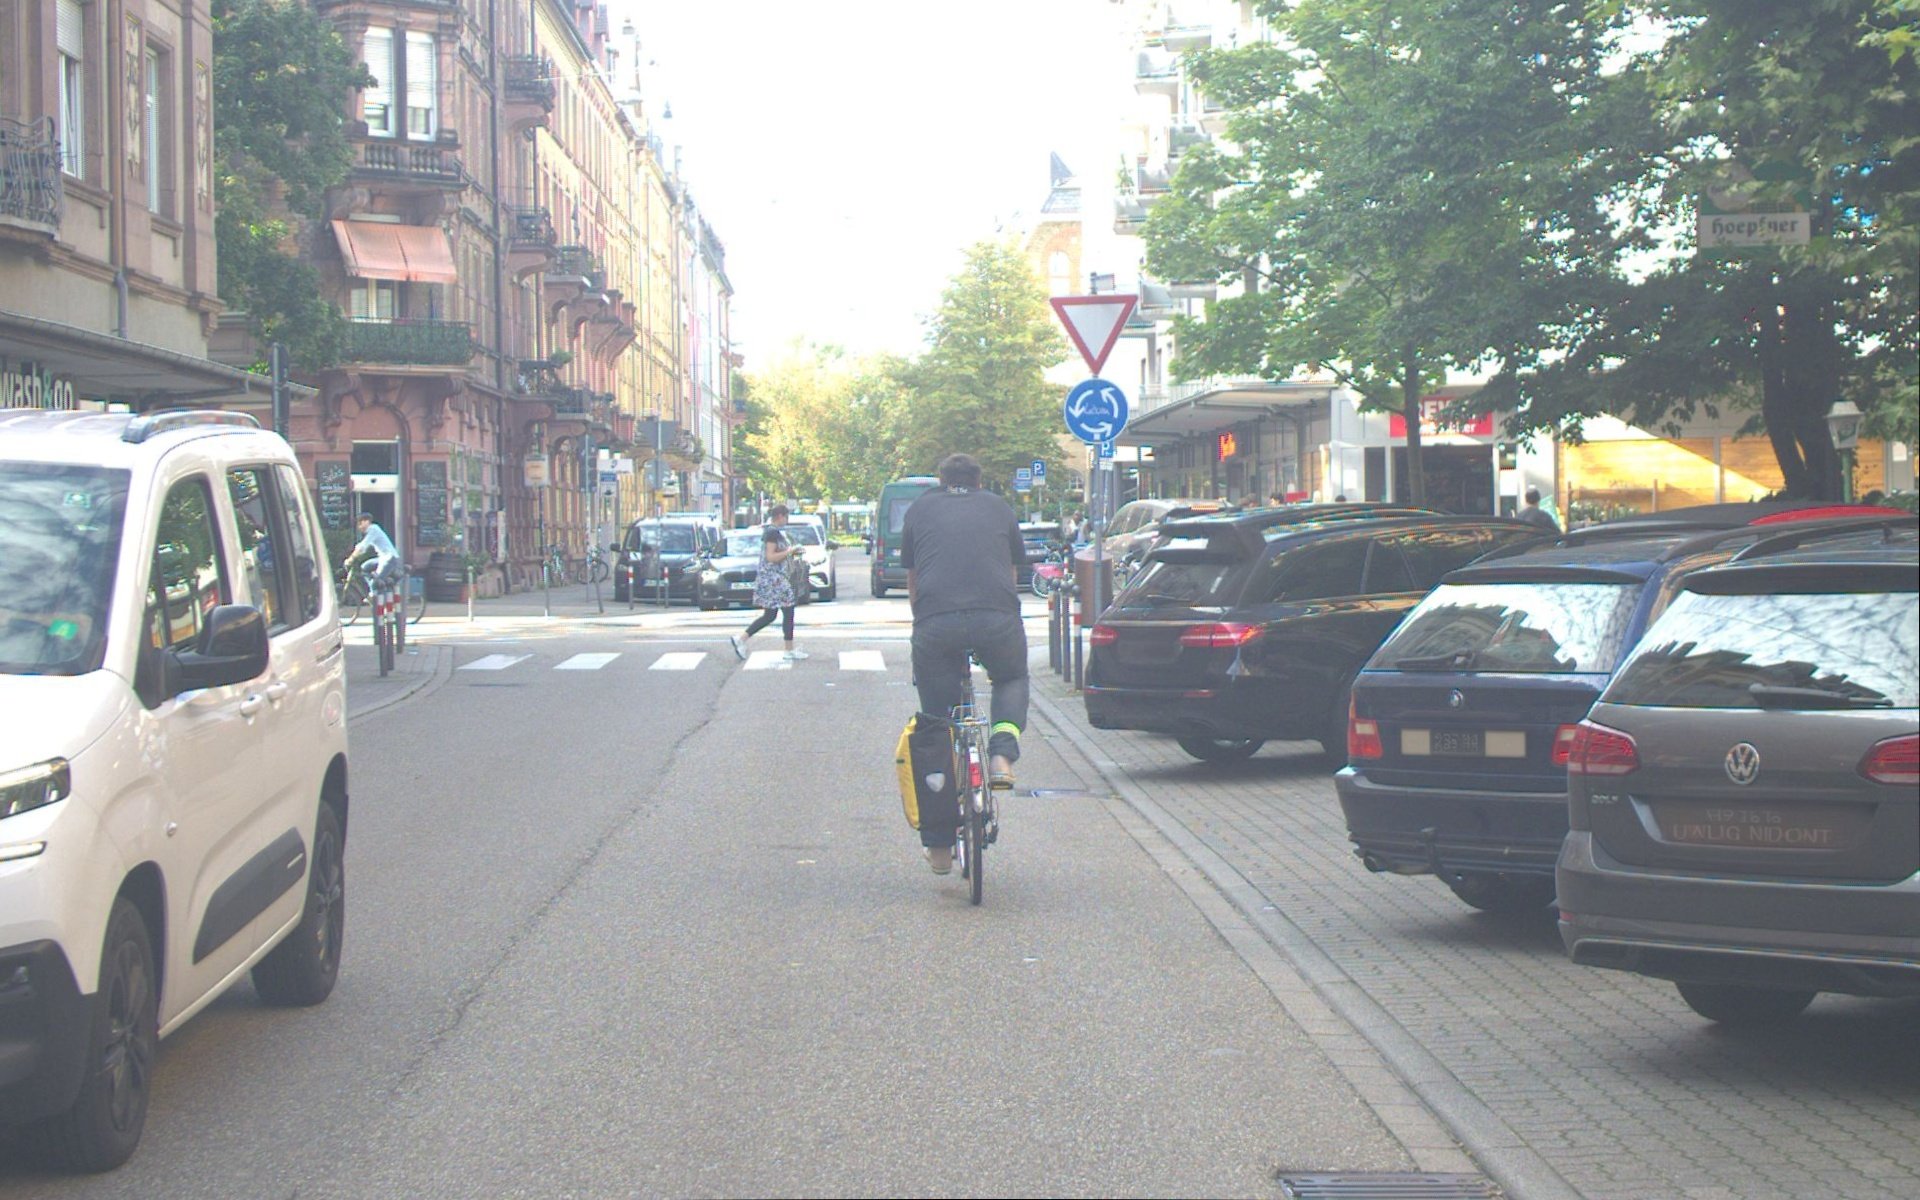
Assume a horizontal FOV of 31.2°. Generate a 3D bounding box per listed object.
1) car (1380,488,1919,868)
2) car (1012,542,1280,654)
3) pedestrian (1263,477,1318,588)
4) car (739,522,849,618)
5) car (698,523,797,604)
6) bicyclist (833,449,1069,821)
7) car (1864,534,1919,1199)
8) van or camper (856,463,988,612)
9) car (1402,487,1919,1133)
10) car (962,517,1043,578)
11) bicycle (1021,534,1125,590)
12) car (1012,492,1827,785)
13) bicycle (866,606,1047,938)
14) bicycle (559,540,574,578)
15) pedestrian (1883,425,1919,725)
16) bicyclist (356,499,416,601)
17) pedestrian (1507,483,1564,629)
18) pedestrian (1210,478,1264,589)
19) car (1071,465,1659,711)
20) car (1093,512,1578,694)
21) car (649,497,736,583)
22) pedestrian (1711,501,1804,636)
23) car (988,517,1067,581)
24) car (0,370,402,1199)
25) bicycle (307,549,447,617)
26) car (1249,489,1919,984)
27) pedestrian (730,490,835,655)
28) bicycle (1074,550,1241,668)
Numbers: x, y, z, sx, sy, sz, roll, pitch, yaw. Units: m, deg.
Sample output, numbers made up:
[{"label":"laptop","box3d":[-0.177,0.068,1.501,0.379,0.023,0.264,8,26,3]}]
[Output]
[{"label":"car","box3d":[3.911,0.267,16.092,3.709,1.480,1.741,-4,3,-39]},{"label":"car","box3d":[2.818,-0.055,52.784,1.994,1.612,3.999,-2,2,-37]},{"label":"pedestrian","box3d":[5.557,-1.137,57.859,0.869,1.845,0.612,-1,1,4]},{"label":"car","box3d":[-3.413,-0.662,71.373,1.942,1.716,4.850,-2,3,1]},{"label":"car","box3d":[-3.876,-0.676,62.914,1.750,1.431,4.212,0,1,-3]},{"label":"bicyclist","box3d":[-0.044,0.134,14.093,0.933,1.478,0.747,0,1,-1]},{"label":"car","box3d":[3.881,0.507,7.575,3.984,1.454,1.750,-4,3,-43]},{"label":"van or camper","box3d":[-0.851,-1.339,73.192,2.531,3.026,4.459,-1,1,-4]},{"label":"car","box3d":[3.561,0.394,10.302,4.457,1.472,1.889,-6,4,-41]},{"label":"car","box3d":[1.076,-1.375,89.156,1.993,1.481,4.000,-1,1,0]},{"label":"bicycle","box3d":[2.216,-0.748,67.401,2.000,1.042,0.532,-1,1,1]},{"label":"car","box3d":[2.922,0.161,21.616,4.753,1.451,2.057,-4,3,-29]},{"label":"bicycle","box3d":[-0.036,0.644,14.043,0.665,1.174,2.497,0,1,-1]},{"label":"bicycle","box3d":[-9.998,-1.040,87.384,0.360,0.944,1.716,0,1,-6]},{"label":"pedestrian","box3d":[6.364,-0.173,21.764,0.839,1.871,0.723,-1,1,3]},{"label":"bicyclist","box3d":[-9.442,-0.830,56.505,0.854,1.660,0.790,0,1,-18]},{"label":"pedestrian","box3d":[6.979,-0.538,41.668,0.629,1.733,0.775,-1,1,11]},{"label":"pedestrian","box3d":[4.666,-1.119,57.924,0.869,1.845,0.612,-1,1,4]},{"label":"car","box3d":[3.271,-0.139,27.598,4.340,1.639,1.822,-4,3,-27]},{"label":"car","box3d":[3.319,-0.011,30.236,3.931,1.452,1.770,-2,2,-29]},{"label":"car","box3d":[-6.552,-1.481,84.515,1.993,2.007,4.001,-2,1,-3]},{"label":"pedestrian","box3d":[8.103,-0.326,34.931,0.756,1.338,0.597,-1,1,-5]},{"label":"car","box3d":[1.502,-1.167,77.693,1.645,1.320,3.577,-3,1,0]},{"label":"car","box3d":[-2.773,0.390,9.190,1.917,1.822,4.438,0,1,-1]},{"label":"bicycle","box3d":[-9.574,-0.279,56.484,2.184,1.088,0.678,0,1,-18]},{"label":"car","box3d":[3.446,0.363,13.204,4.455,1.459,1.879,-5,3,-36]},{"label":"pedestrian","box3d":[-1.946,-0.304,37.754,0.783,1.773,0.791,0,2,37]},{"label":"bicycle","box3d":[1.835,0.085,32.214,0.548,1.036,1.857,-5,2,-30]}]
